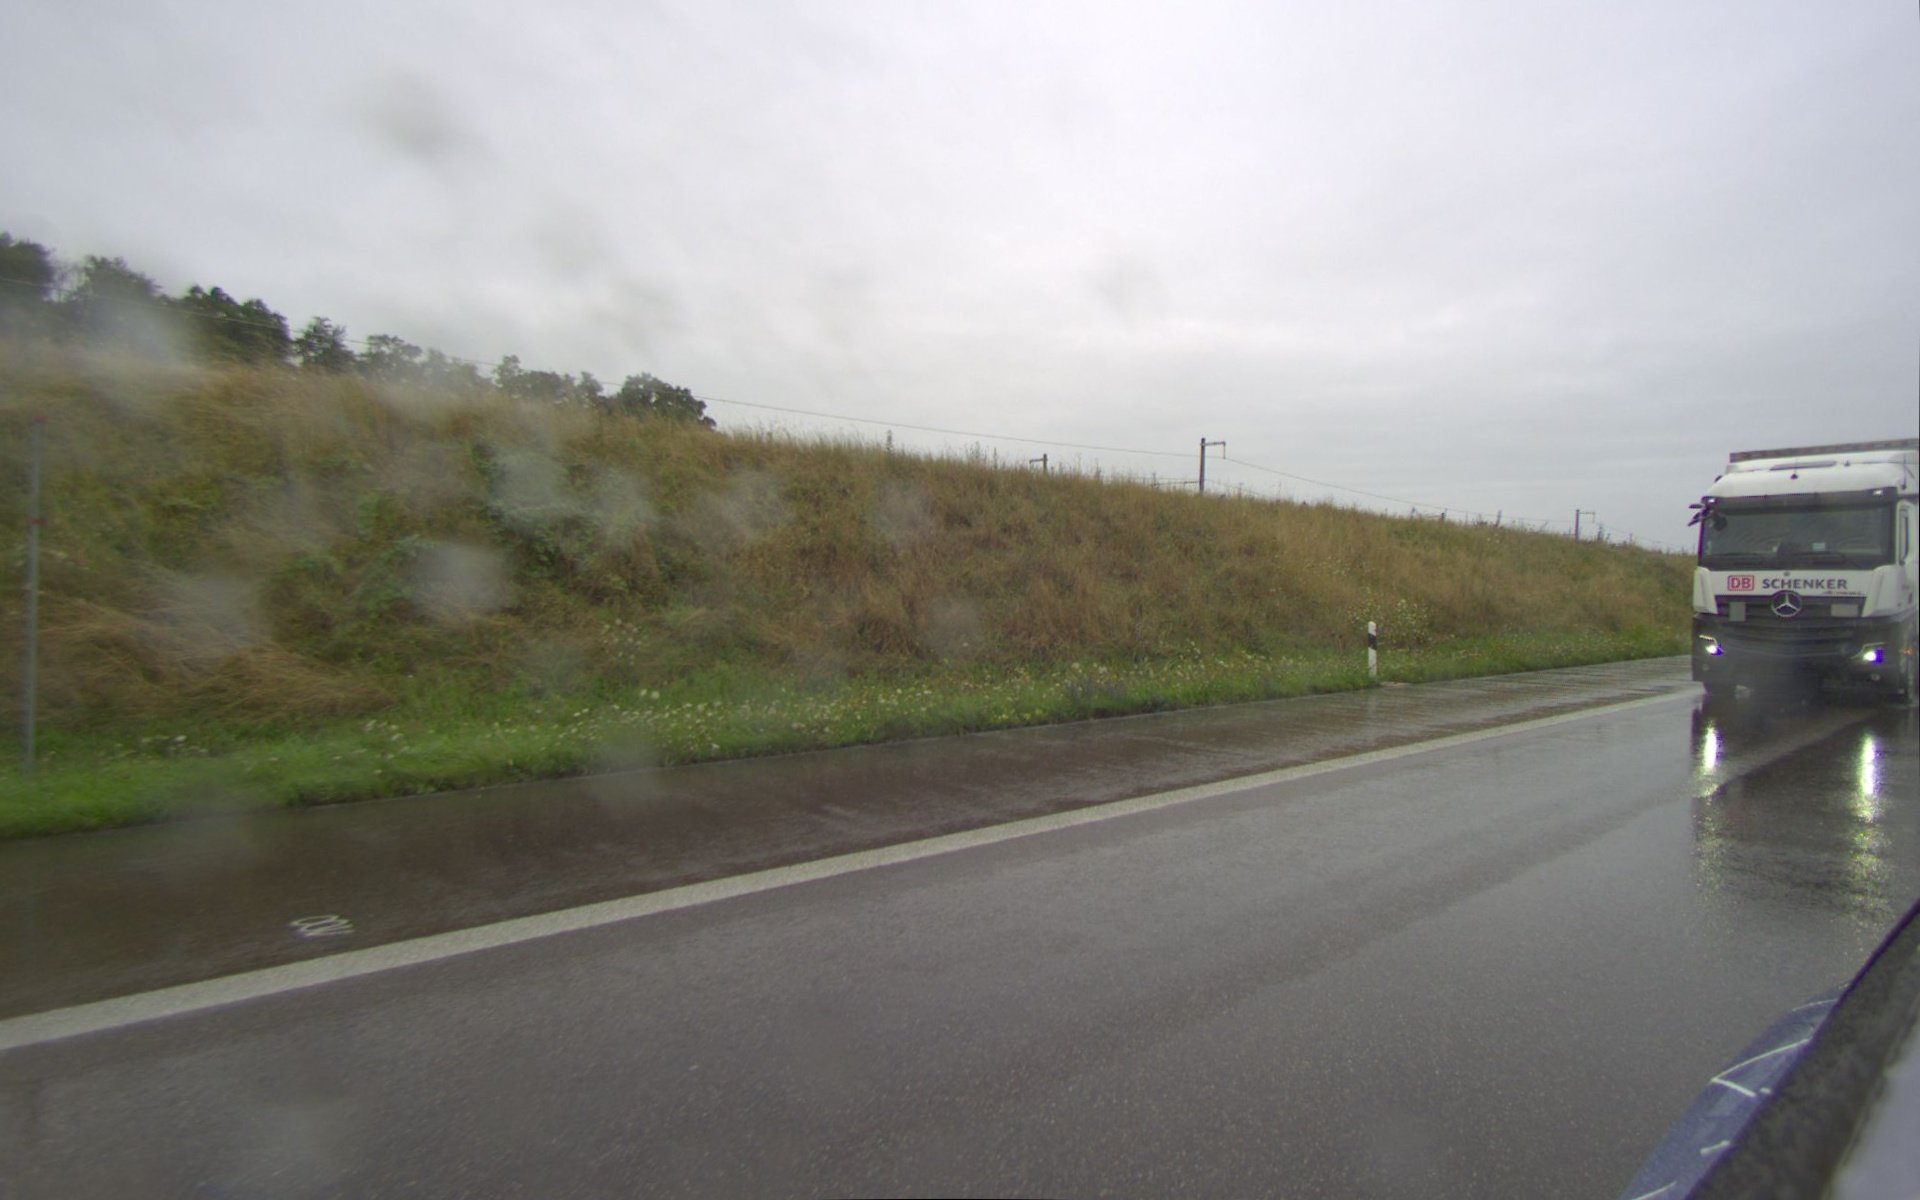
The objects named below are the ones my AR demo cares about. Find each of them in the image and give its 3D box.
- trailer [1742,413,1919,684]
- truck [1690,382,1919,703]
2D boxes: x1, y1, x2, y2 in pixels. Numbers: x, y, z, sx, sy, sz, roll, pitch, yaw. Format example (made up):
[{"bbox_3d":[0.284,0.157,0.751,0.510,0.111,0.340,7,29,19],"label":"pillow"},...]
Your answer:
[{"bbox_3d":[19.871,-0.888,21.362,13.929,4.302,2.631,-1,0,-41],"label":"trailer"},{"bbox_3d":[13.909,-0.801,16.159,4.956,4.307,2.630,-1,0,-41],"label":"truck"}]
